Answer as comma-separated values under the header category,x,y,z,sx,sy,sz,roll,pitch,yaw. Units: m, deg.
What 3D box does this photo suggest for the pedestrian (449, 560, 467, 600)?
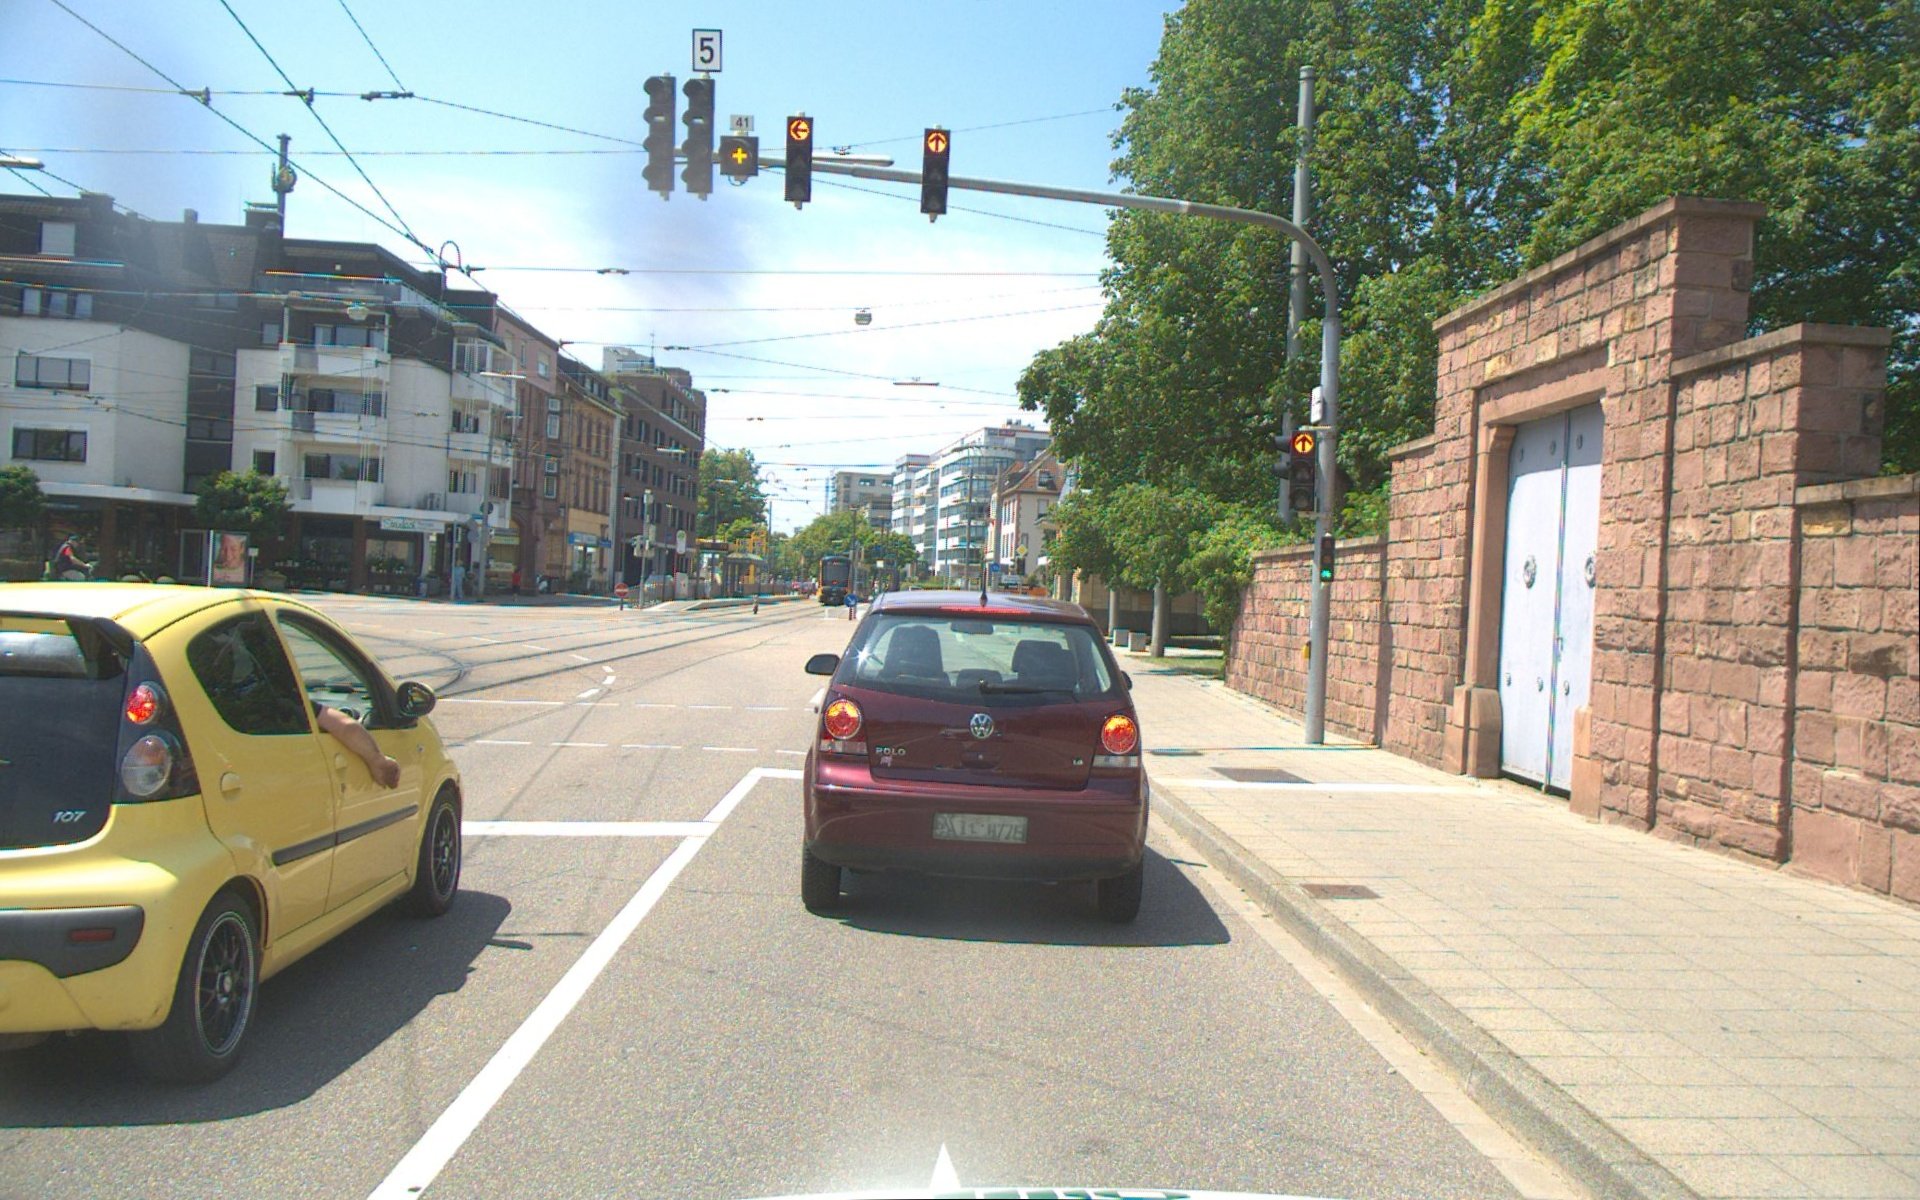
category,x,y,z,sx,sy,sz,roll,pitch,yaw
pedestrian,-22.403,-0.895,73.830,0.497,1.785,0.606,0,-1,45

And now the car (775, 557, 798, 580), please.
category,x,y,z,sx,sy,sz,roll,pitch,yaw
car,-16.211,-2.923,154.944,1.700,2.049,3.999,2,0,-1

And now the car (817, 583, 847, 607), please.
category,x,y,z,sx,sy,sz,roll,pitch,yaw
car,-9.120,-0.339,117.732,1.899,1.670,3.999,1,0,-1

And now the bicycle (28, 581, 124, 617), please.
category,x,y,z,sx,sy,sz,roll,pitch,yaw
bicycle,-20.994,-0.018,39.322,1.953,0.797,0.463,1,-1,-23

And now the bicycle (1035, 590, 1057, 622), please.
category,x,y,z,sx,sy,sz,roll,pitch,yaw
bicycle,4.393,0.319,84.428,0.818,1.552,3.999,1,0,-1

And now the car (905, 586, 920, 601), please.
category,x,y,z,sx,sy,sz,roll,pitch,yaw
car,-4.774,-0.656,167.057,1.540,1.440,3.719,0,0,-1

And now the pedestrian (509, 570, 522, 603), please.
category,x,y,z,sx,sy,sz,roll,pitch,yaw
pedestrian,-21.315,-0.630,79.330,0.474,1.568,0.538,1,-1,-4

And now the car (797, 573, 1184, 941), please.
category,x,y,z,sx,sy,sz,roll,pitch,yaw
car,0.070,0.653,9.034,1.577,1.489,4.084,3,0,-2

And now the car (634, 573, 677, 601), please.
category,x,y,z,sx,sy,sz,roll,pitch,yaw
car,-17.511,-0.732,95.340,1.654,1.488,4.000,2,0,1

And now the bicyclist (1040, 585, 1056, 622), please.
category,x,y,z,sx,sy,sz,roll,pitch,yaw
bicyclist,4.445,0.169,83.796,0.707,1.850,0.888,1,-1,-1

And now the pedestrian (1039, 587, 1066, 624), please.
category,x,y,z,sx,sy,sz,roll,pitch,yaw
pedestrian,4.327,0.238,77.403,0.968,1.690,0.913,2,0,-21

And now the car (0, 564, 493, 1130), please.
category,x,y,z,sx,sy,sz,roll,pitch,yaw
car,-2.956,0.611,5.923,1.688,1.470,3.292,1,1,-2

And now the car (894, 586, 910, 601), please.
category,x,y,z,sx,sy,sz,roll,pitch,yaw
car,-6.624,-0.734,189.335,1.744,1.651,3.997,1,0,-3

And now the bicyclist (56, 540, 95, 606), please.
category,x,y,z,sx,sy,sz,roll,pitch,yaw
bicyclist,-21.022,-0.641,39.319,0.739,1.527,0.478,1,-1,-22
